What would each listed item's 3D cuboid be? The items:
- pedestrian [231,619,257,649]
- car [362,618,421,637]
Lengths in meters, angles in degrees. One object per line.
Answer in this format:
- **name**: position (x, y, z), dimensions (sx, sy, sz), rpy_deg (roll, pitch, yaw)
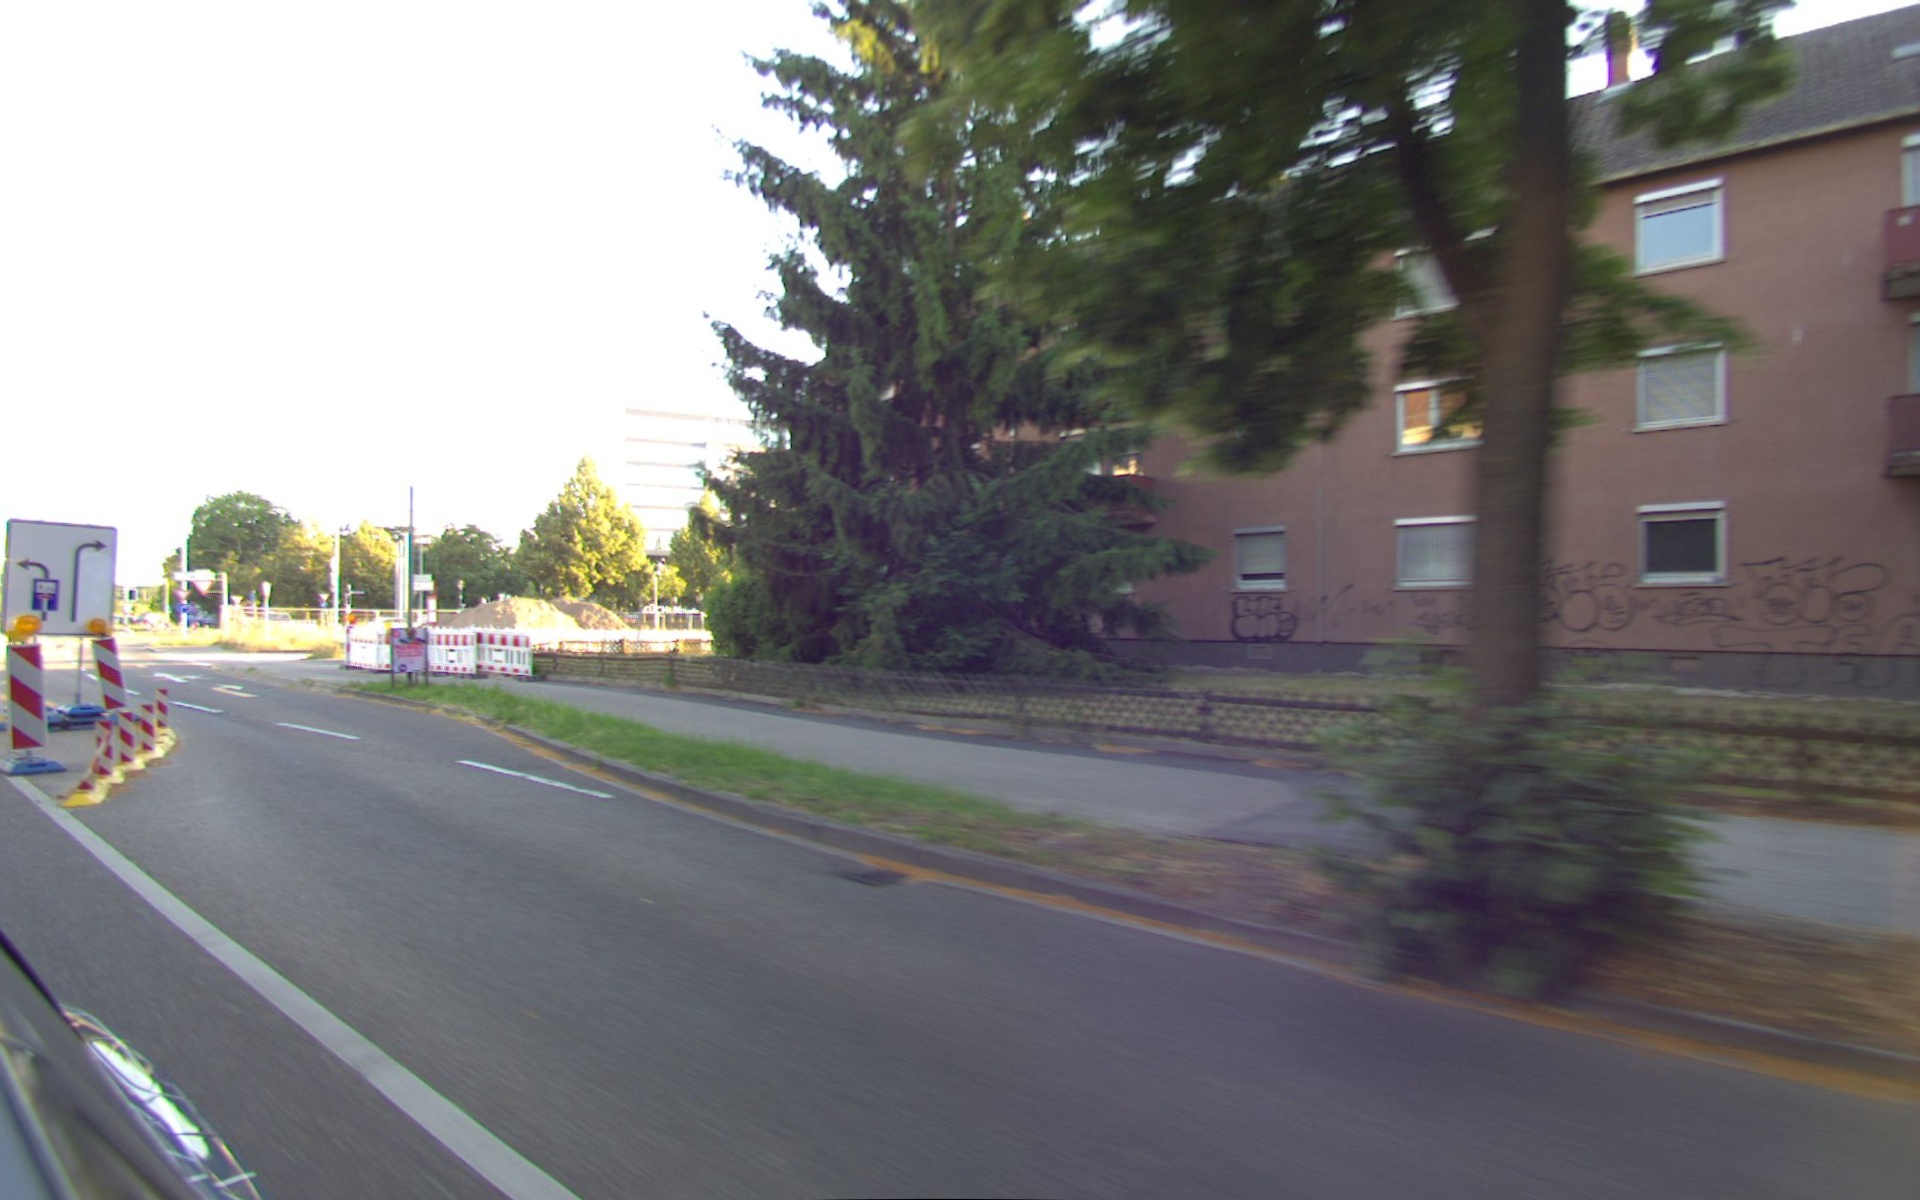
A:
- **pedestrian**: position (-41.186, 1.955, 58.198), dimensions (0.784, 1.708, 0.917), rpy_deg (0, -3, 29)
- **car**: position (-47.010, 2.255, 83.808), dimensions (1.630, 1.475, 3.948), rpy_deg (-1, -1, 38)
